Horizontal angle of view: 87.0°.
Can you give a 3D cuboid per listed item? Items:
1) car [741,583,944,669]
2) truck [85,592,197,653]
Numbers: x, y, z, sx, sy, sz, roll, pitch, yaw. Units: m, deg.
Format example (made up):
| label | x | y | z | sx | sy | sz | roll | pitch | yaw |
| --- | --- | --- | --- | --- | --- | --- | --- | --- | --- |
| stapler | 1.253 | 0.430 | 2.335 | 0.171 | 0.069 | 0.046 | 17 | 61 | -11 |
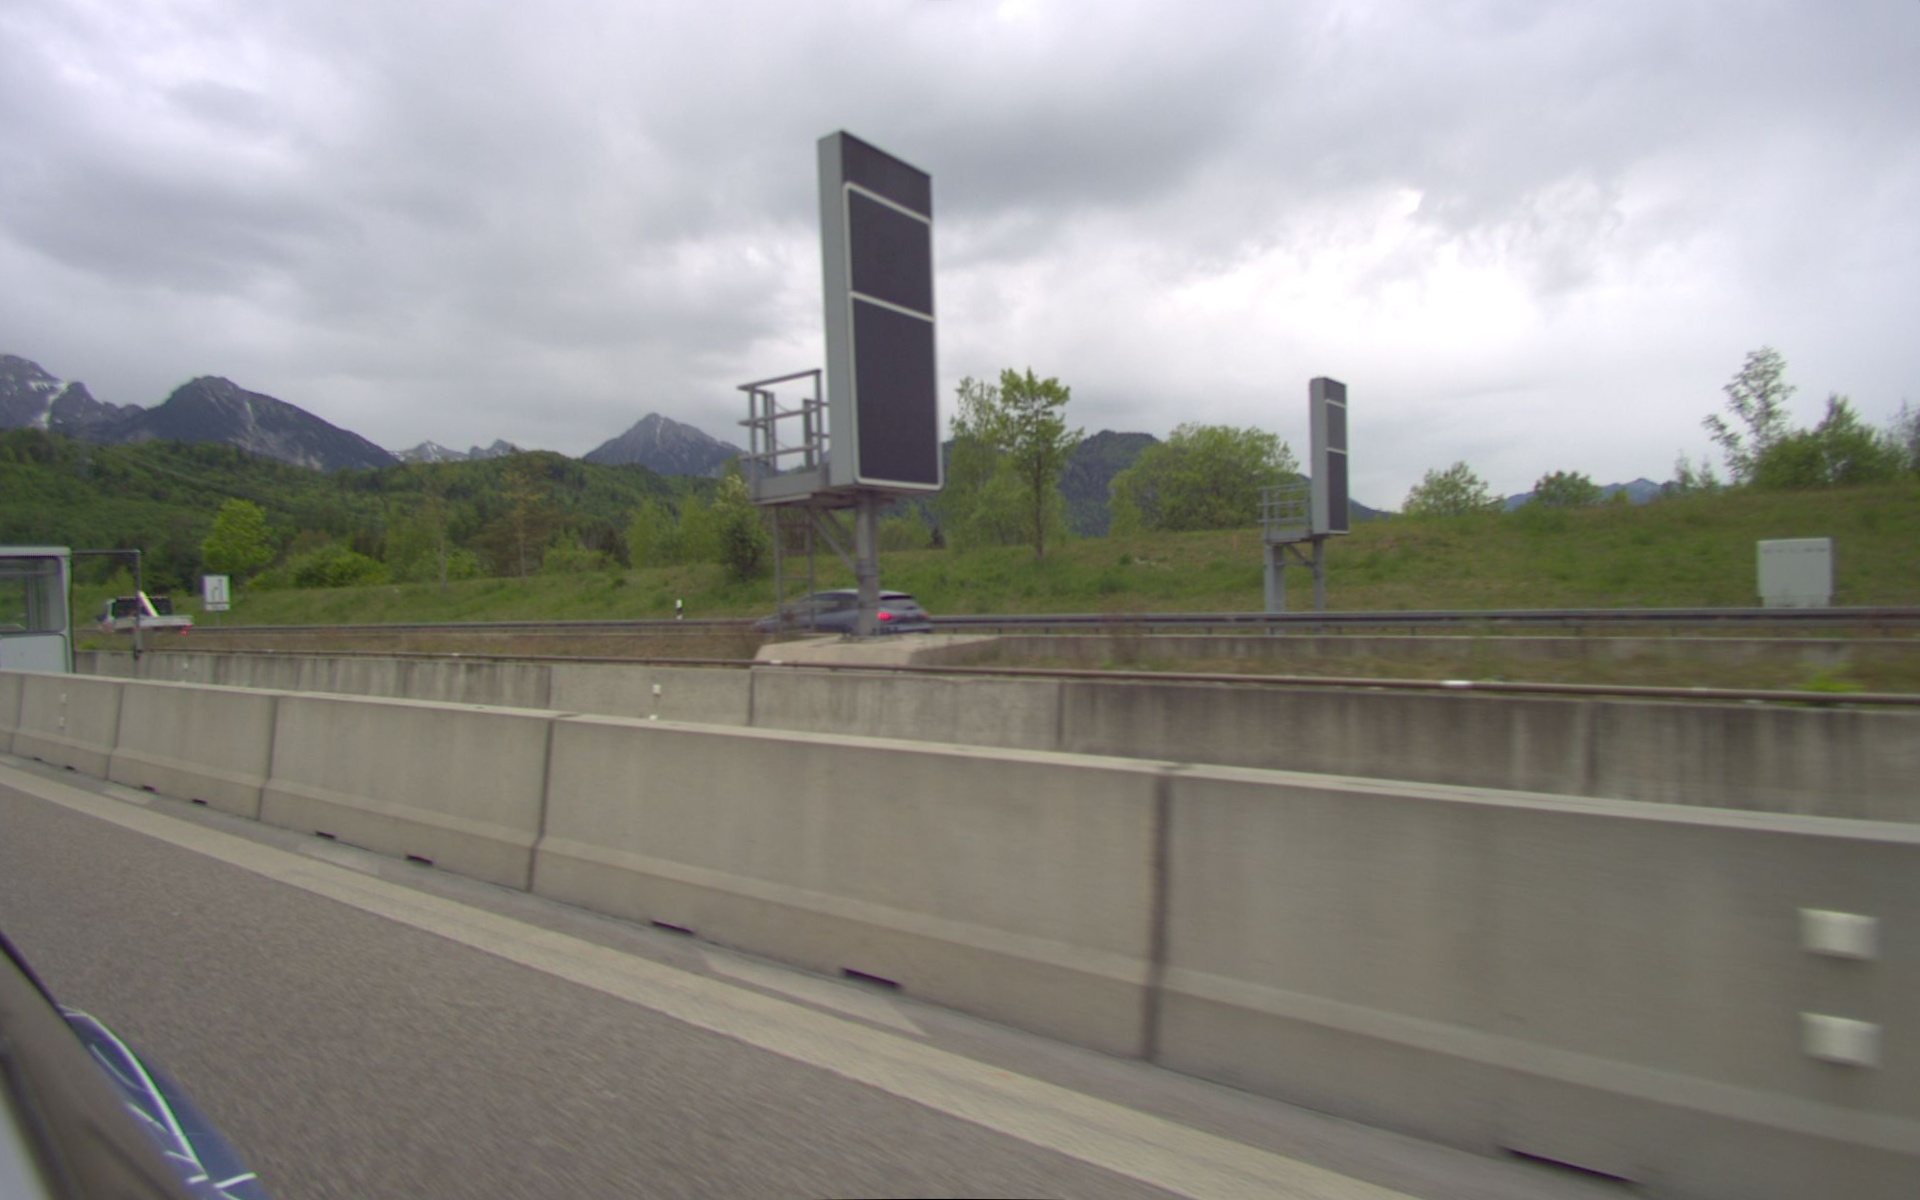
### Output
| label | x | y | z | sx | sy | sz | roll | pitch | yaw |
| --- | --- | --- | --- | --- | --- | --- | --- | --- | --- |
| car | -2.343 | 0.495 | 19.757 | 3.829 | 1.512 | 1.594 | -2 | 0 | 35 |
| truck | -36.605 | 0.999 | 45.175 | 5.975 | 2.498 | 2.336 | -2 | 0 | 35 |
